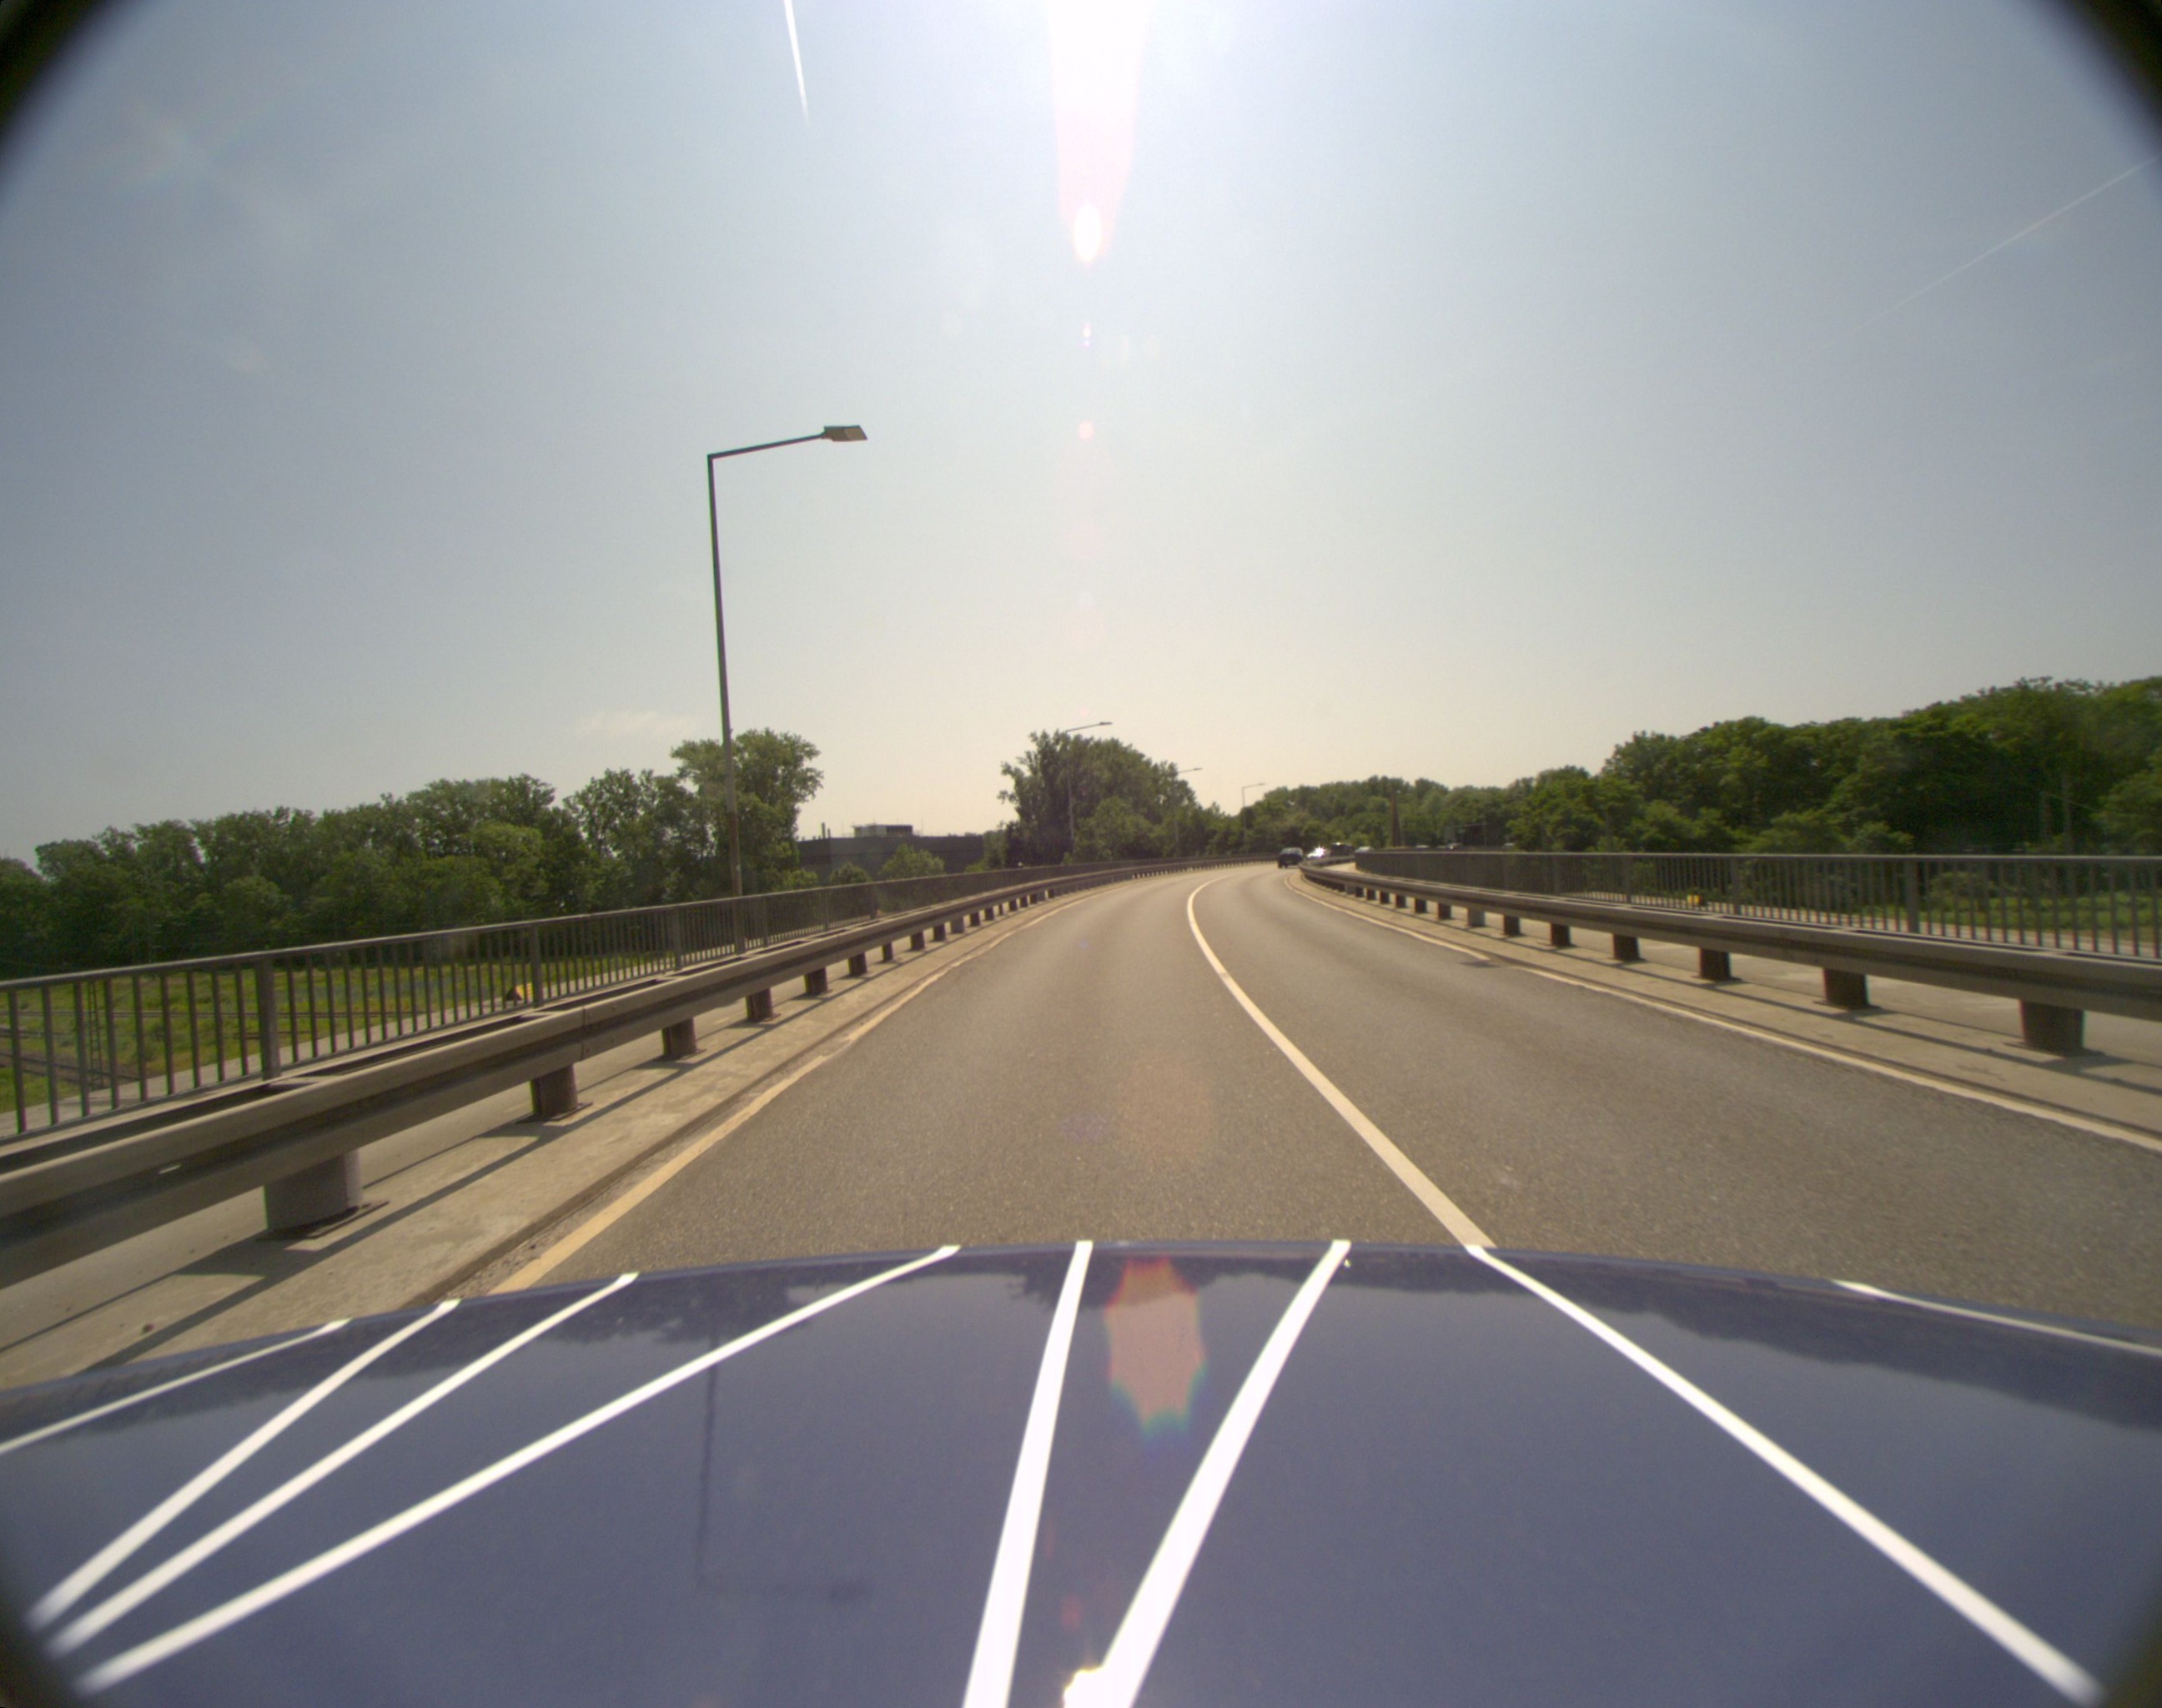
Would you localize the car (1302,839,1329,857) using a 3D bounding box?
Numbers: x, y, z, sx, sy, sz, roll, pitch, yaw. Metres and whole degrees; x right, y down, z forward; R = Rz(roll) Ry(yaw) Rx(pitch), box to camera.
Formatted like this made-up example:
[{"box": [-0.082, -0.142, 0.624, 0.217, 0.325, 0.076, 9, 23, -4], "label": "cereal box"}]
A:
[{"box": [26.834, -0.705, 87.014, 1.995, 2.002, 4.008, -2, 0, 31], "label": "car"}]

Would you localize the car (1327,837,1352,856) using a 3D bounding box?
[{"box": [28.633, -0.867, 83.963, 2.008, 1.947, 5.279, -1, 1, 25], "label": "car"}]

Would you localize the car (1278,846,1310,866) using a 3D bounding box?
[{"box": [17.851, 0.166, 63.581, 1.894, 1.586, 4.494, -2, 0, 23], "label": "car"}]
